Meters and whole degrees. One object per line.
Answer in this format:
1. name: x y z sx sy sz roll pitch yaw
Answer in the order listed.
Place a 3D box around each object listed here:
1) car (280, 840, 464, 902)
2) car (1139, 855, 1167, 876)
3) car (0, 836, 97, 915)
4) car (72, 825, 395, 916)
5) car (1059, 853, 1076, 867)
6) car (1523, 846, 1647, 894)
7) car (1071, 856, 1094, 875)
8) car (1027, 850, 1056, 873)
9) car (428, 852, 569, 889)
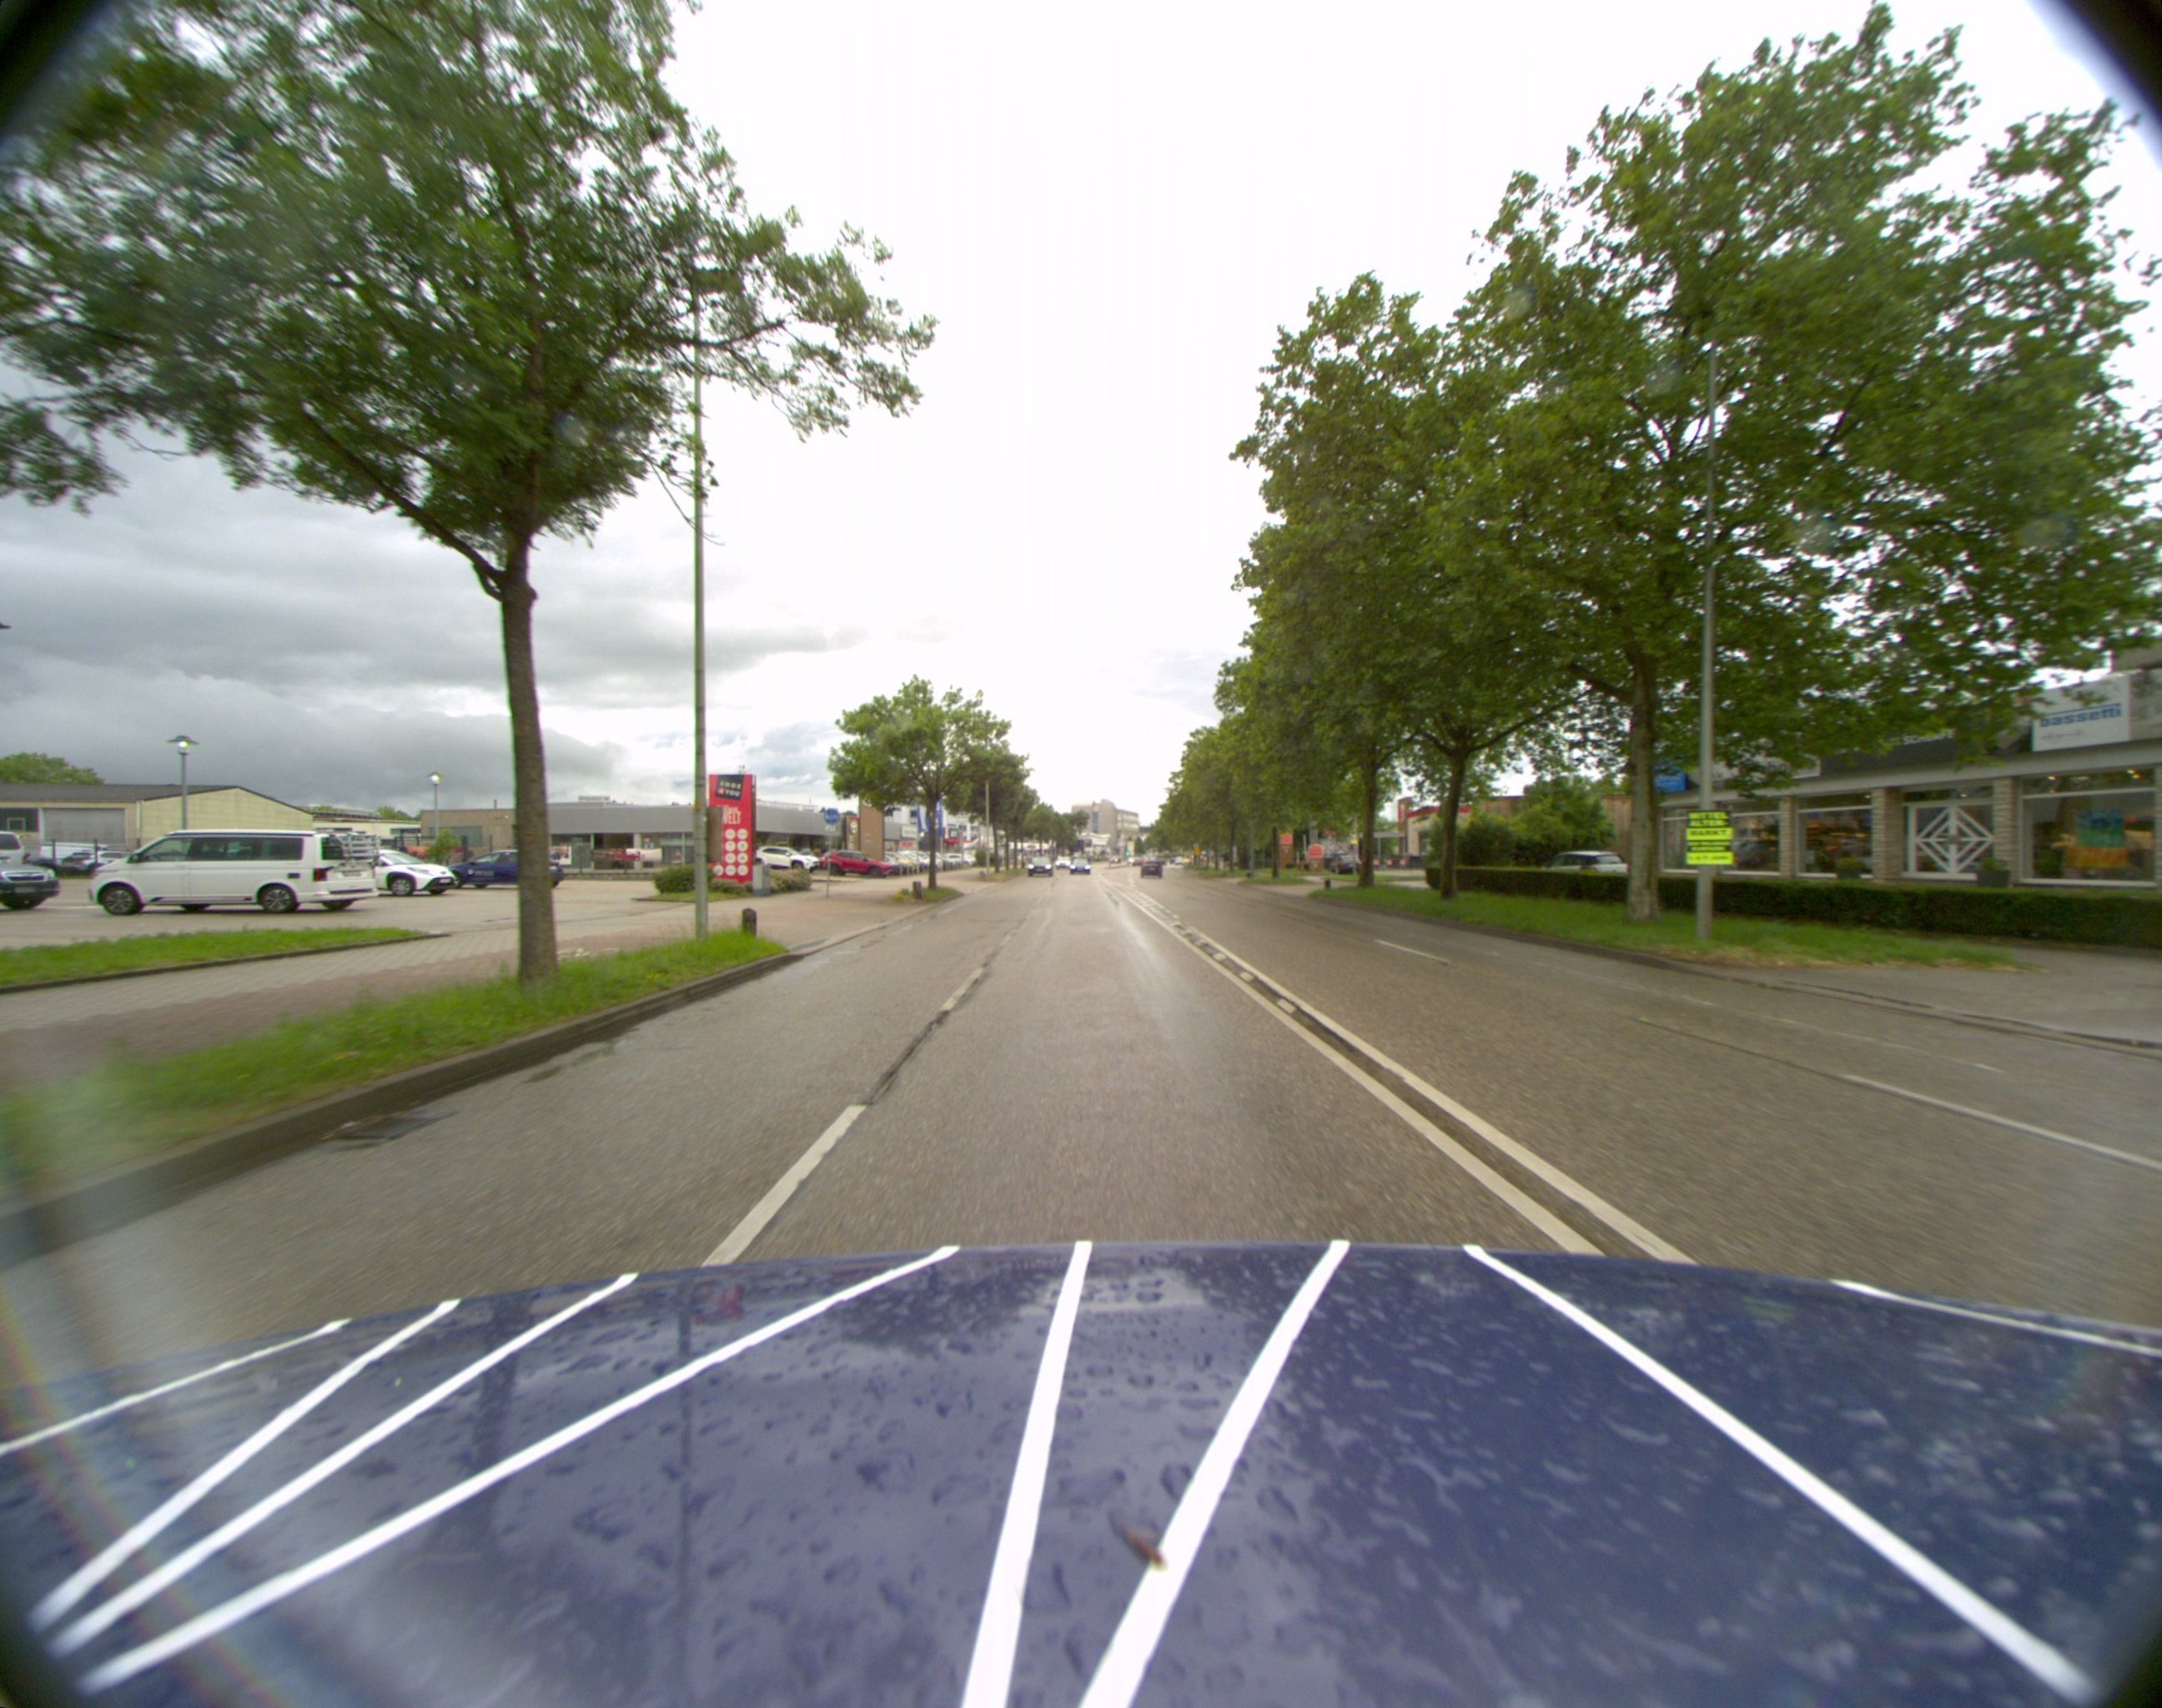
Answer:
1. car: -23.119 0.520 24.924 4.000 1.787 1.821 -2 1 -8
2. car: 5.884 0.882 62.306 1.998 1.632 4.360 0 0 1
3. car: -26.312 0.457 17.389 4.454 1.752 1.998 0 0 -9
4. car: -20.044 0.393 18.243 4.965 2.002 1.998 1 0 -11
5. car: -1.810 0.810 100.650 1.998 1.632 4.360 -2 1 1
6. car: 17.579 0.495 26.764 1.746 1.524 4.000 2 1 2
7. car: 0.152 1.062 71.318 1.998 1.632 4.360 -2 1 1
8. car: -3.179 0.572 61.758 1.998 1.632 4.360 -2 1 1
9. car: -22.425 0.621 29.412 4.001 1.390 1.675 0 0 -11
